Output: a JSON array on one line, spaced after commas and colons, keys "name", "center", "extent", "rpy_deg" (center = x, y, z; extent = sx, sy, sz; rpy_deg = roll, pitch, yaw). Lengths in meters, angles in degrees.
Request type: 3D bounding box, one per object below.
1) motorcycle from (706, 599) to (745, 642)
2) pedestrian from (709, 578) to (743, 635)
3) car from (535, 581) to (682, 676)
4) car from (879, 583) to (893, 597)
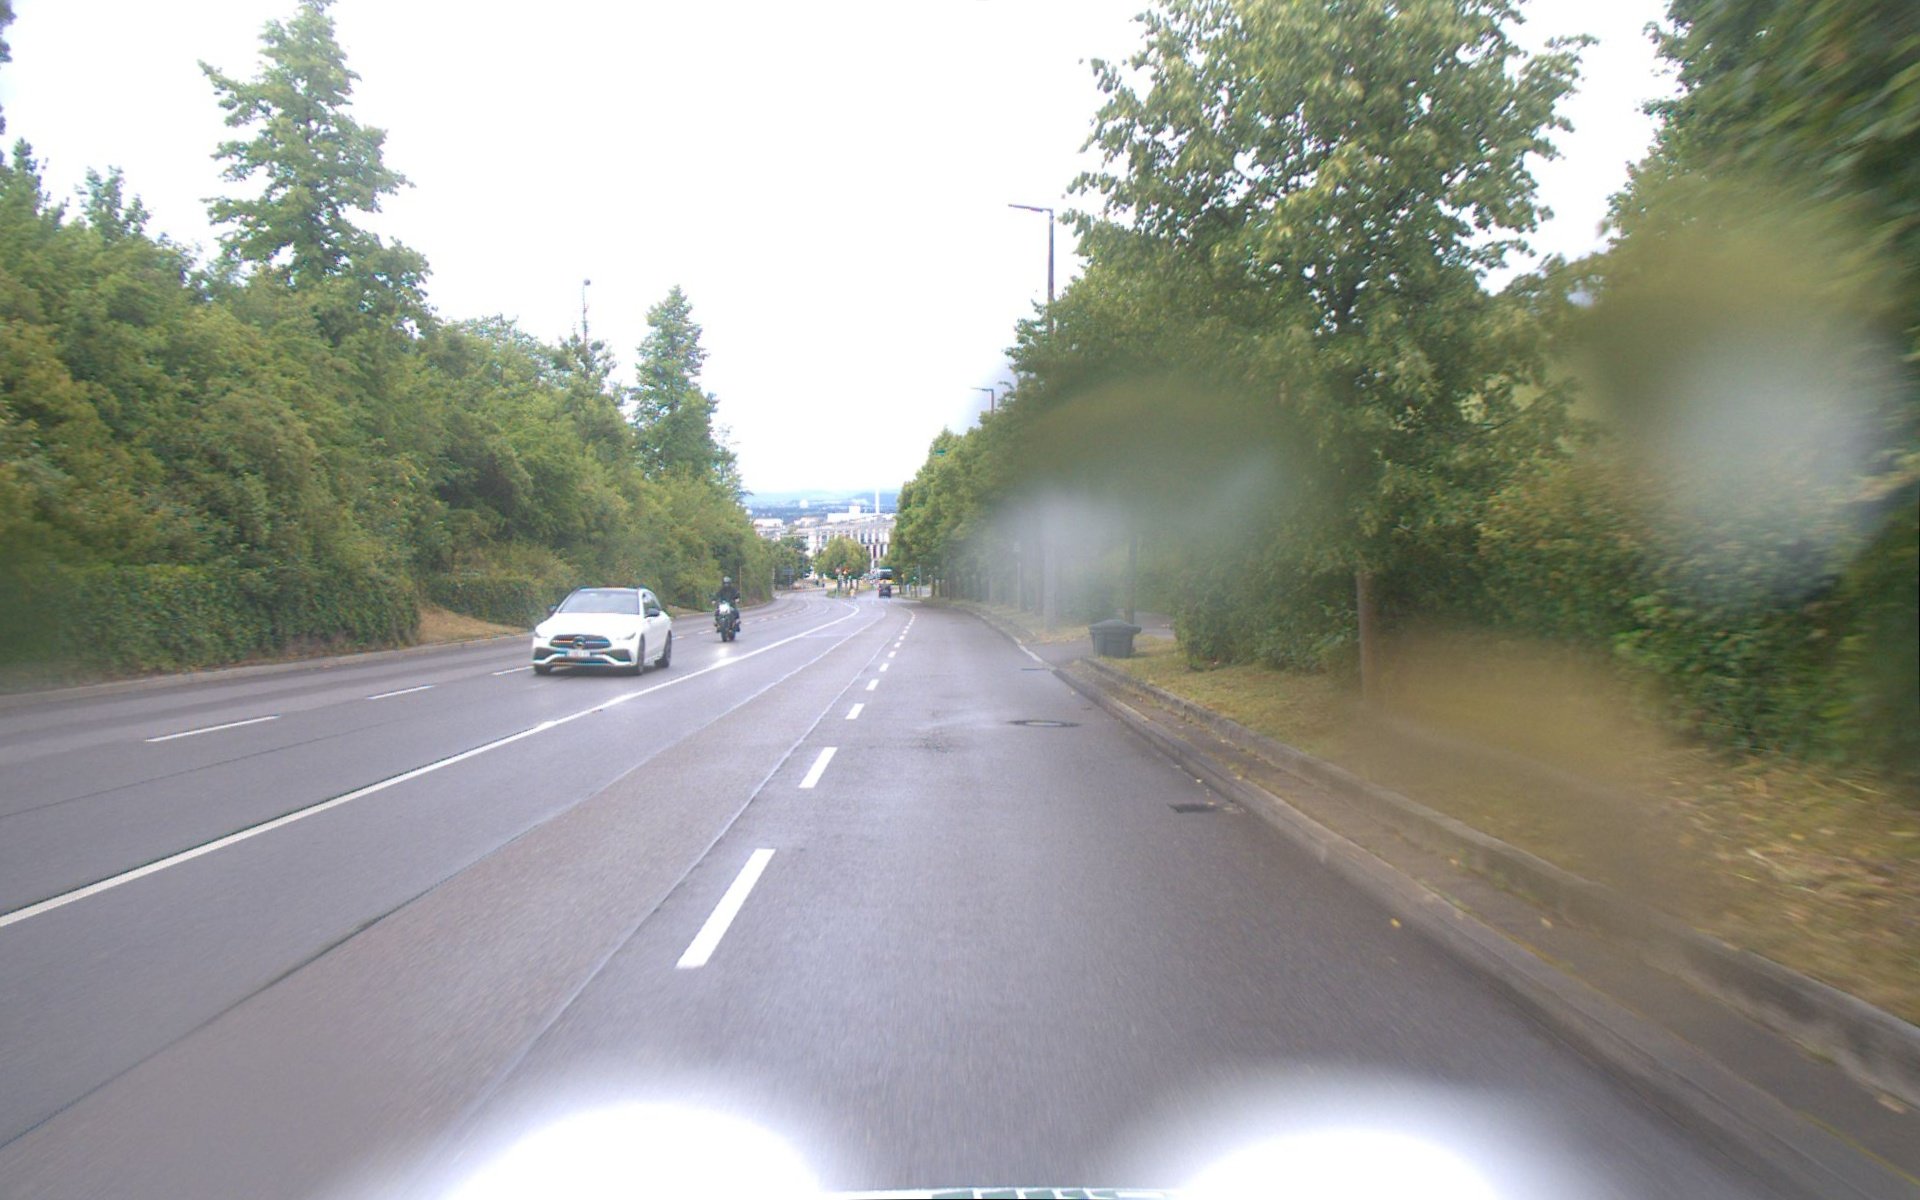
[{"name": "motorcycle", "center": [-6.477, 0.545, 45.701], "extent": [0.789, 1.151, 2.231], "rpy_deg": [0, 0, -1]}, {"name": "pedestrian", "center": [-6.476, 0.173, 45.719], "extent": [0.789, 1.568, 1.111], "rpy_deg": [0, 0, -1]}, {"name": "car", "center": [-6.175, 0.446, 29.527], "extent": [1.680, 1.531, 4.516], "rpy_deg": [1, 0, -1]}, {"name": "car", "center": [-9.834, -1.294, 219.861], "extent": [1.812, 1.731, 3.790], "rpy_deg": [1, -1, -4]}]
